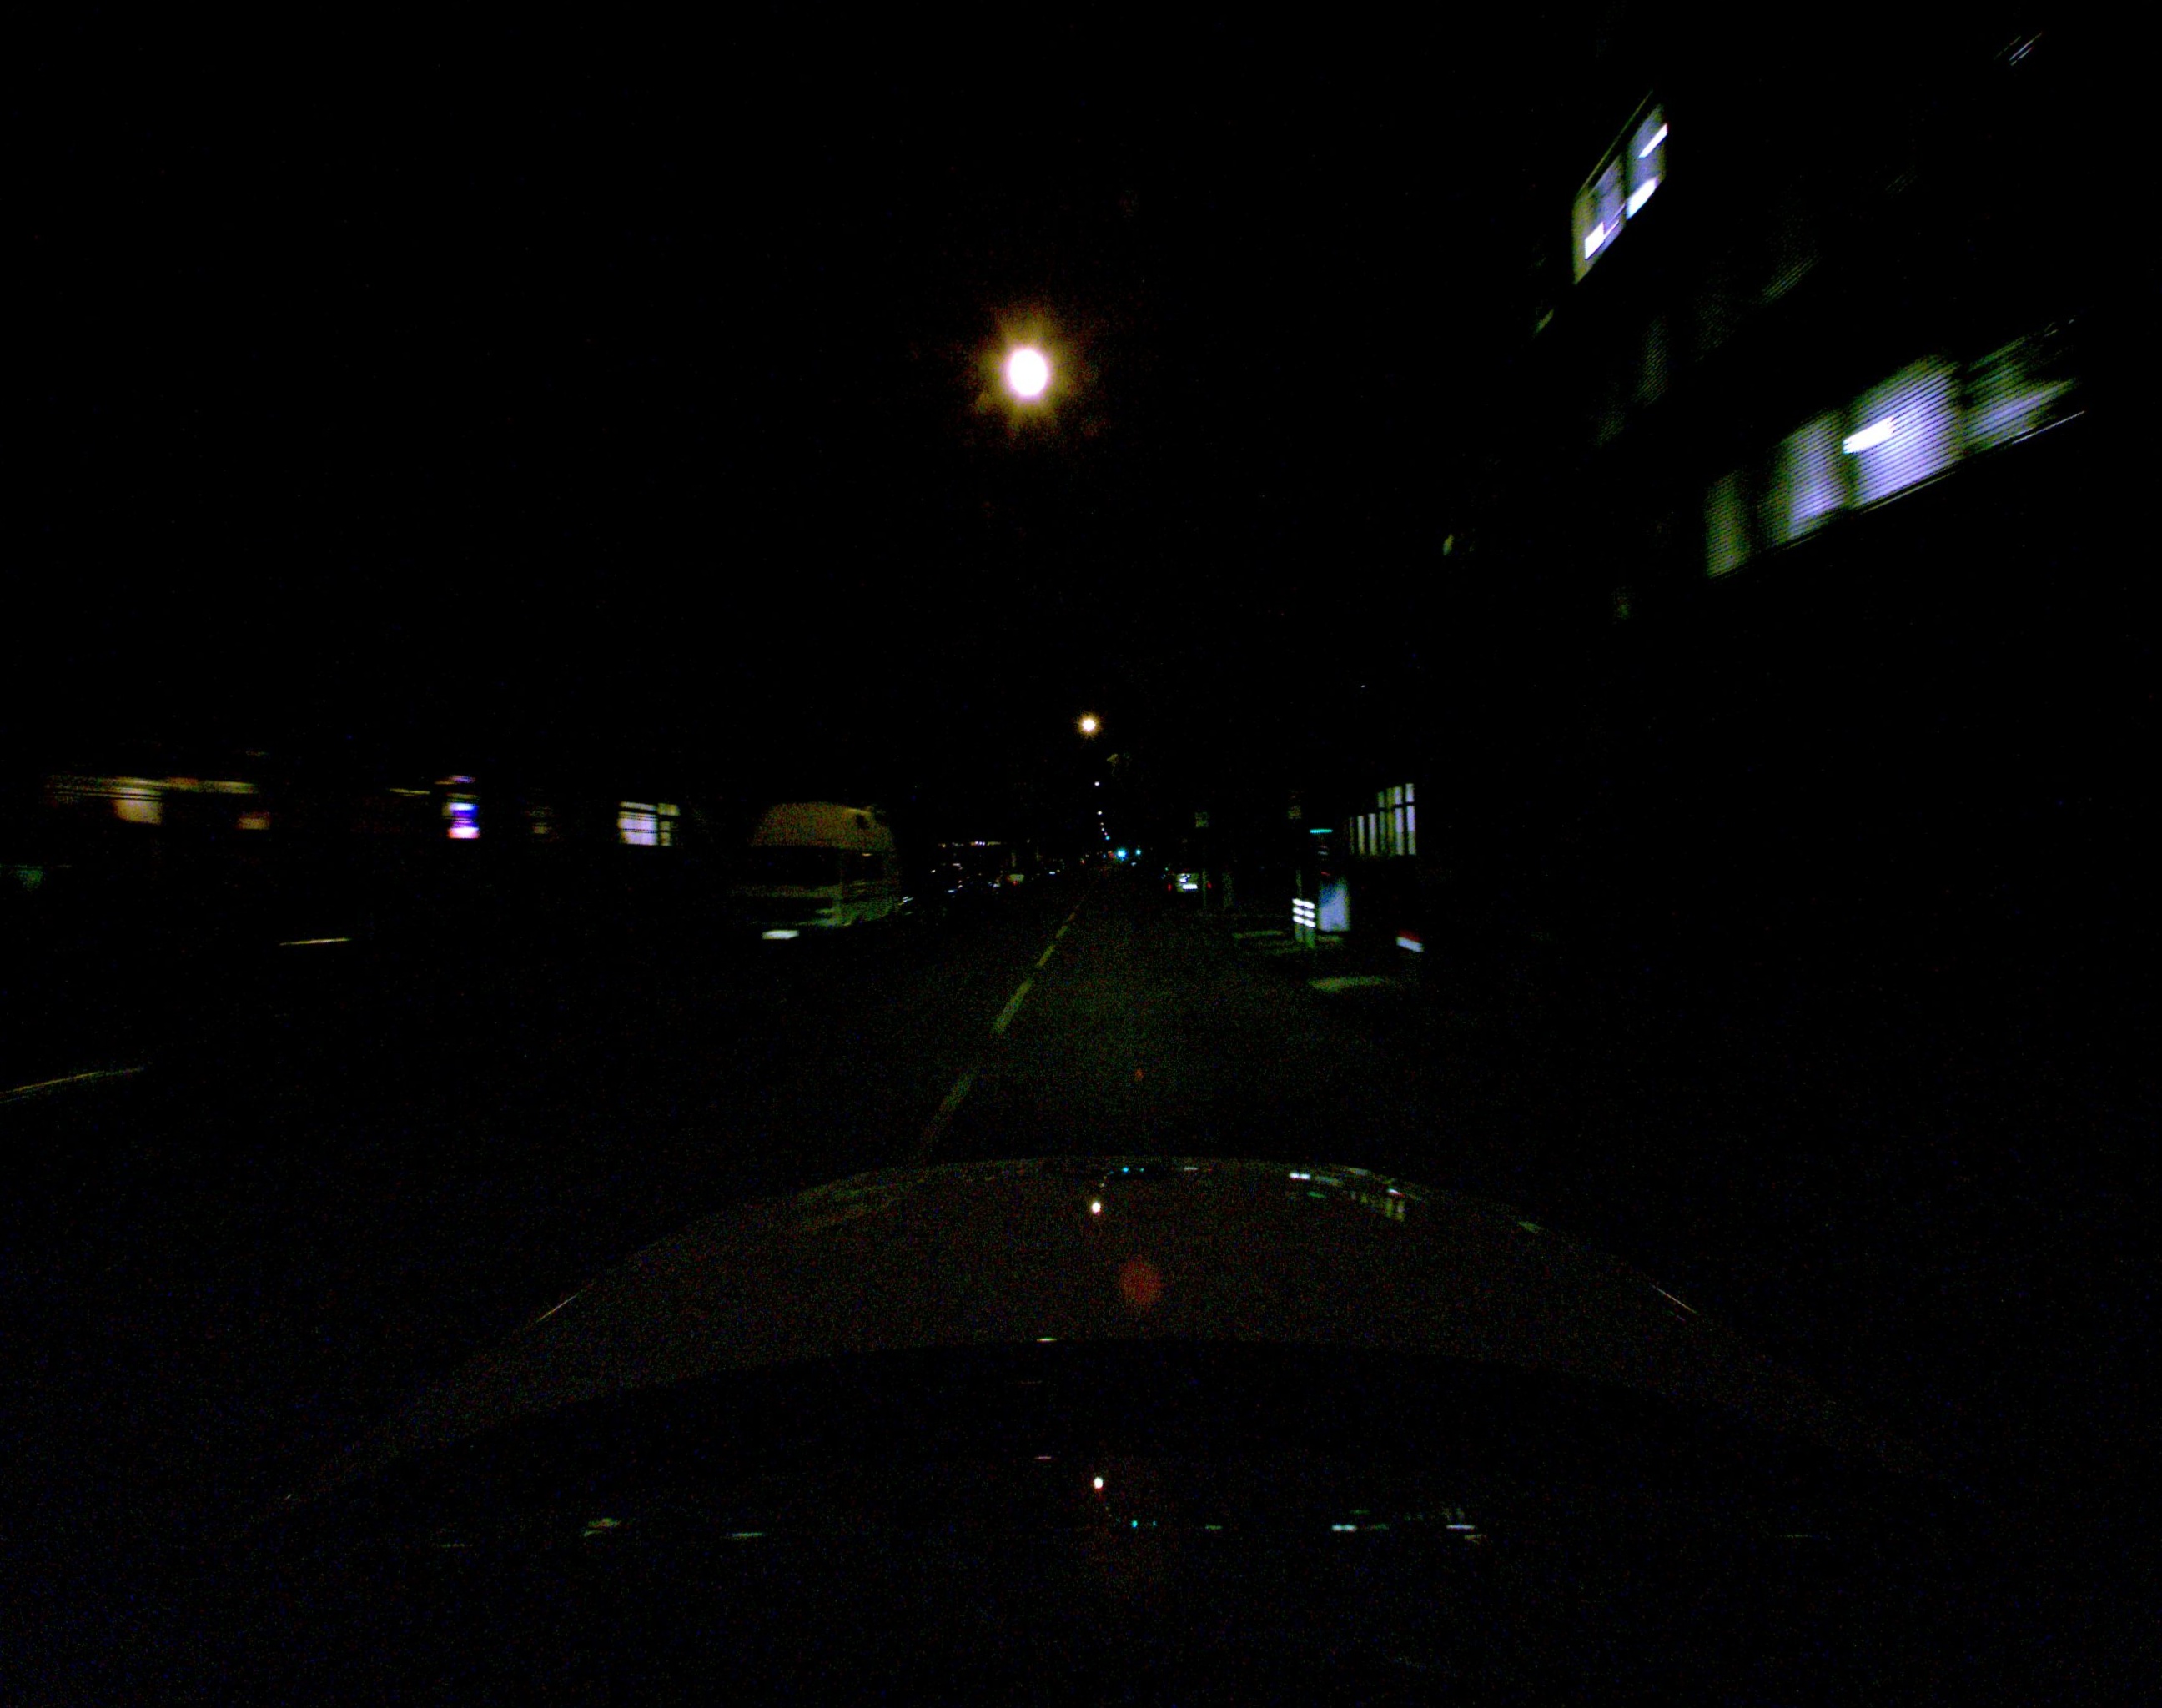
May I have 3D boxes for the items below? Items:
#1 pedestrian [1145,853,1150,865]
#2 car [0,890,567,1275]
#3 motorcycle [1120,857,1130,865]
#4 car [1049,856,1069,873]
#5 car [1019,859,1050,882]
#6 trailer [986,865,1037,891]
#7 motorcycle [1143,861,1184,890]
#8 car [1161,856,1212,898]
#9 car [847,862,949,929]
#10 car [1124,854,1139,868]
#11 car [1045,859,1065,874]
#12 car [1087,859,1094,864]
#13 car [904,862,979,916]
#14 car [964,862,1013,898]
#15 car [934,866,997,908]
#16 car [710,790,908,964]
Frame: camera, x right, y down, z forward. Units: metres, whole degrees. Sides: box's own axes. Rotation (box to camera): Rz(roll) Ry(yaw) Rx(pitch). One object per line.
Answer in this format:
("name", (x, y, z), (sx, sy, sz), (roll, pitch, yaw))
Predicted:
("pedestrian", (10.140, 0.785, 124.036), (0.702, 1.721, 0.822), (-3, -1, 2))
("car", (-5.440, 1.069, 5.319), (1.639, 1.505, 3.861), (0, 0, 1))
("motorcycle", (7.853, 1.276, 144.208), (0.630, 1.270, 2.077), (-2, -1, 37))
("car", (-2.345, 1.133, 88.995), (1.815, 1.811, 4.213), (1, 0, 3))
("car", (-3.438, 1.212, 60.519), (1.815, 1.599, 4.076), (1, 0, 3))
("trailer", (-3.820, 1.294, 45.697), (2.102, 1.335, 5.439), (0, 0, 3))
("motorcycle", (3.898, 1.021, 38.715), (0.930, 1.283, 2.217), (-2, 0, -23))
("car", (4.136, 0.866, 32.424), (1.661, 1.429, 4.152), (-4, 0, 4))
("car", (-4.832, 1.050, 22.104), (1.735, 1.606, 4.117), (-1, 0, 1))
("car", (6.340, 0.915, 102.799), (1.846, 1.654, 4.211), (-2, 0, 2))
("car", (-2.580, 1.261, 82.500), (1.693, 1.433, 3.831), (1, 0, 3))
("car", (2.487, 1.938, 210.973), (1.734, 1.416, 3.754), (-2, 0, 2))
("car", (-4.565, 1.102, 27.238), (1.736, 1.606, 4.297), (-1, 0, 0))
("car", (-4.237, 1.162, 37.793), (1.710, 1.502, 4.206), (1, 0, 1))
("car", (-4.508, 1.259, 32.433), (1.698, 1.411, 4.635), (-2, 0, 1))
("car", (-5.107, 0.387, 16.176), (2.171, 2.909, 4.910), (-1, 0, 1))
